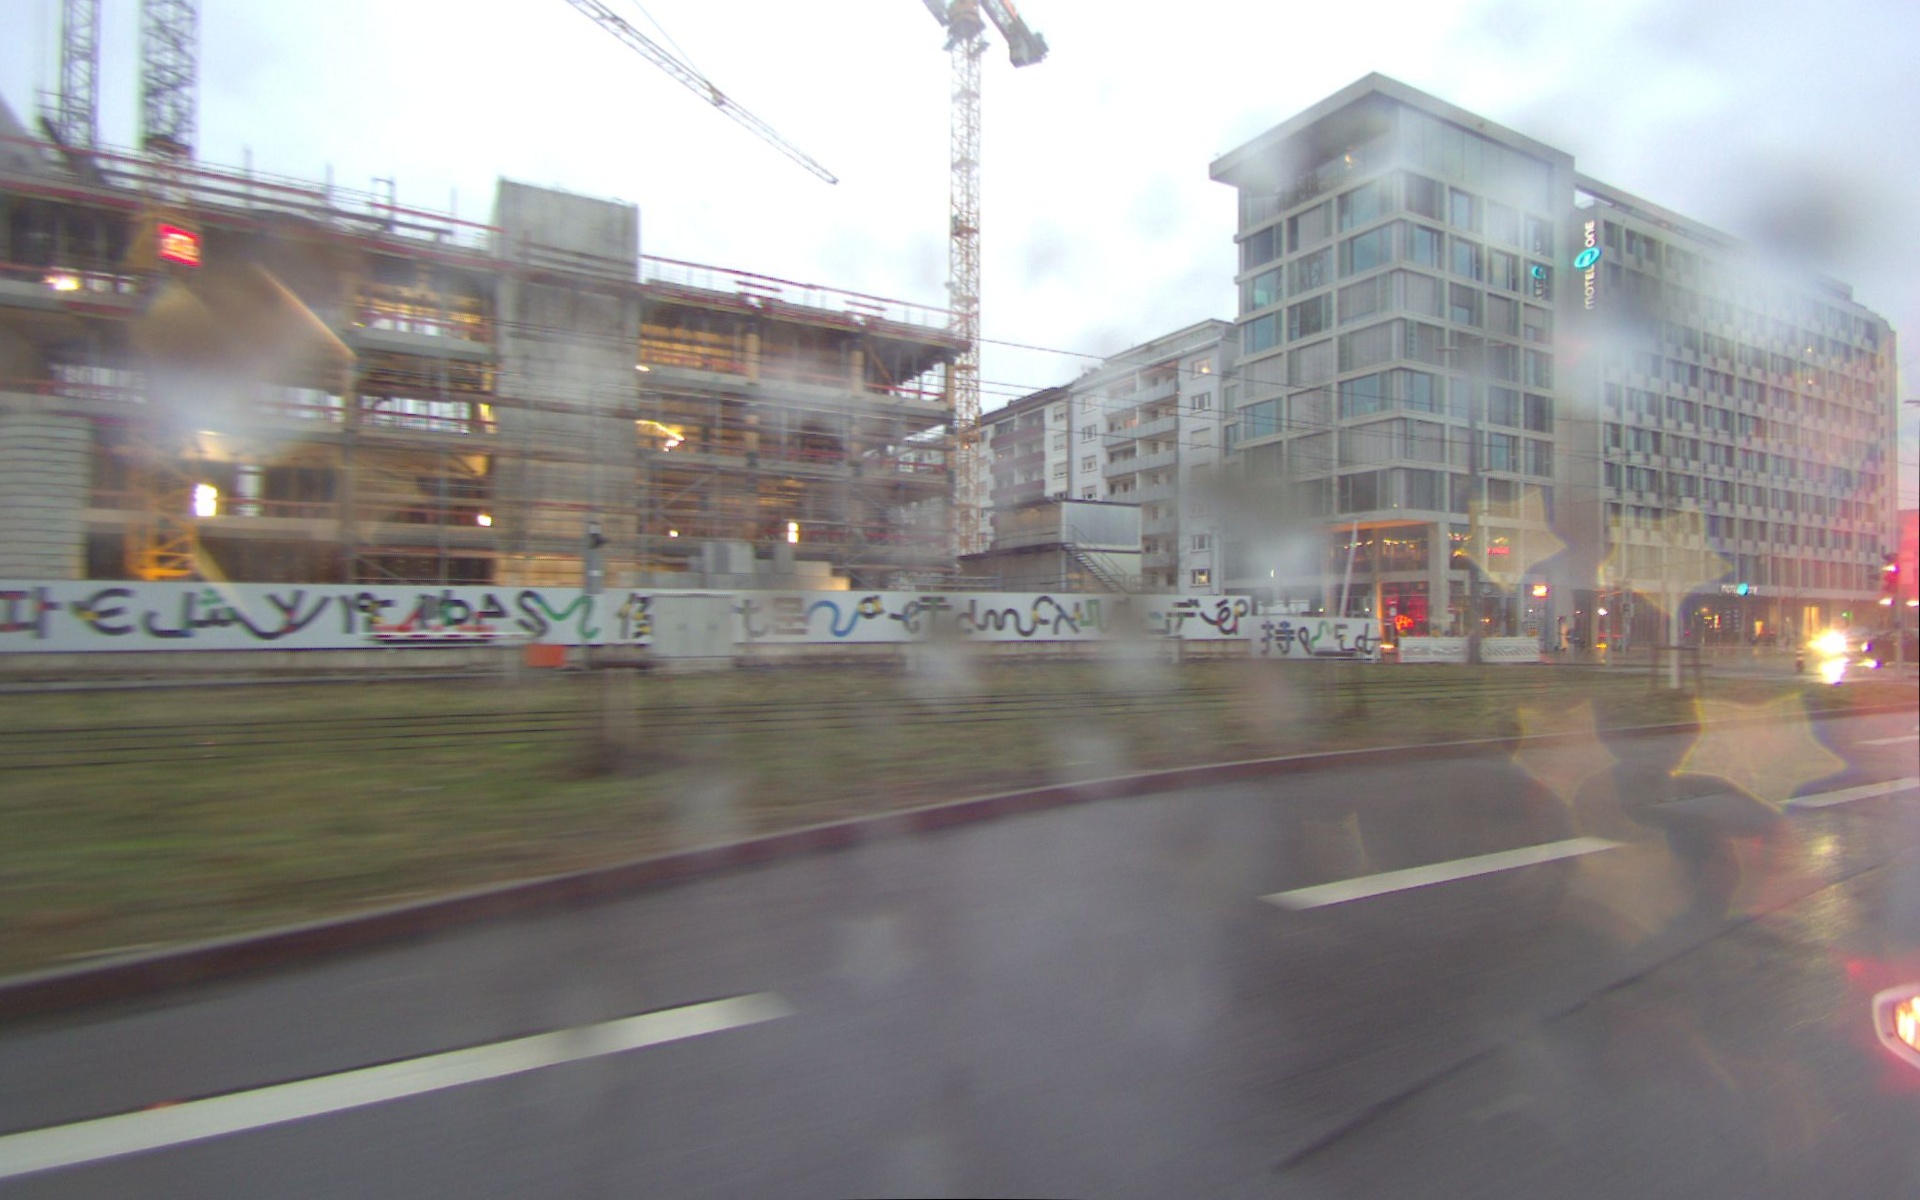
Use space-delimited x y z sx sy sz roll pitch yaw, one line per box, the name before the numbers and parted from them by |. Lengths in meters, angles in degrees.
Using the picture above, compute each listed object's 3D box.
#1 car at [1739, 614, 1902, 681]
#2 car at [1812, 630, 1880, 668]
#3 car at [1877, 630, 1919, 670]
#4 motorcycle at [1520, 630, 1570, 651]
car | 27.910 1.484 32.696 3.942 2.001 1.989 0 -1 42
car | 41.051 2.226 46.523 4.000 1.662 1.842 1 -1 -41
car | 37.075 1.894 38.167 1.710 1.511 3.545 -2 -3 13
motorcycle | 39.106 2.692 67.174 1.035 1.331 2.688 1 -1 -35
